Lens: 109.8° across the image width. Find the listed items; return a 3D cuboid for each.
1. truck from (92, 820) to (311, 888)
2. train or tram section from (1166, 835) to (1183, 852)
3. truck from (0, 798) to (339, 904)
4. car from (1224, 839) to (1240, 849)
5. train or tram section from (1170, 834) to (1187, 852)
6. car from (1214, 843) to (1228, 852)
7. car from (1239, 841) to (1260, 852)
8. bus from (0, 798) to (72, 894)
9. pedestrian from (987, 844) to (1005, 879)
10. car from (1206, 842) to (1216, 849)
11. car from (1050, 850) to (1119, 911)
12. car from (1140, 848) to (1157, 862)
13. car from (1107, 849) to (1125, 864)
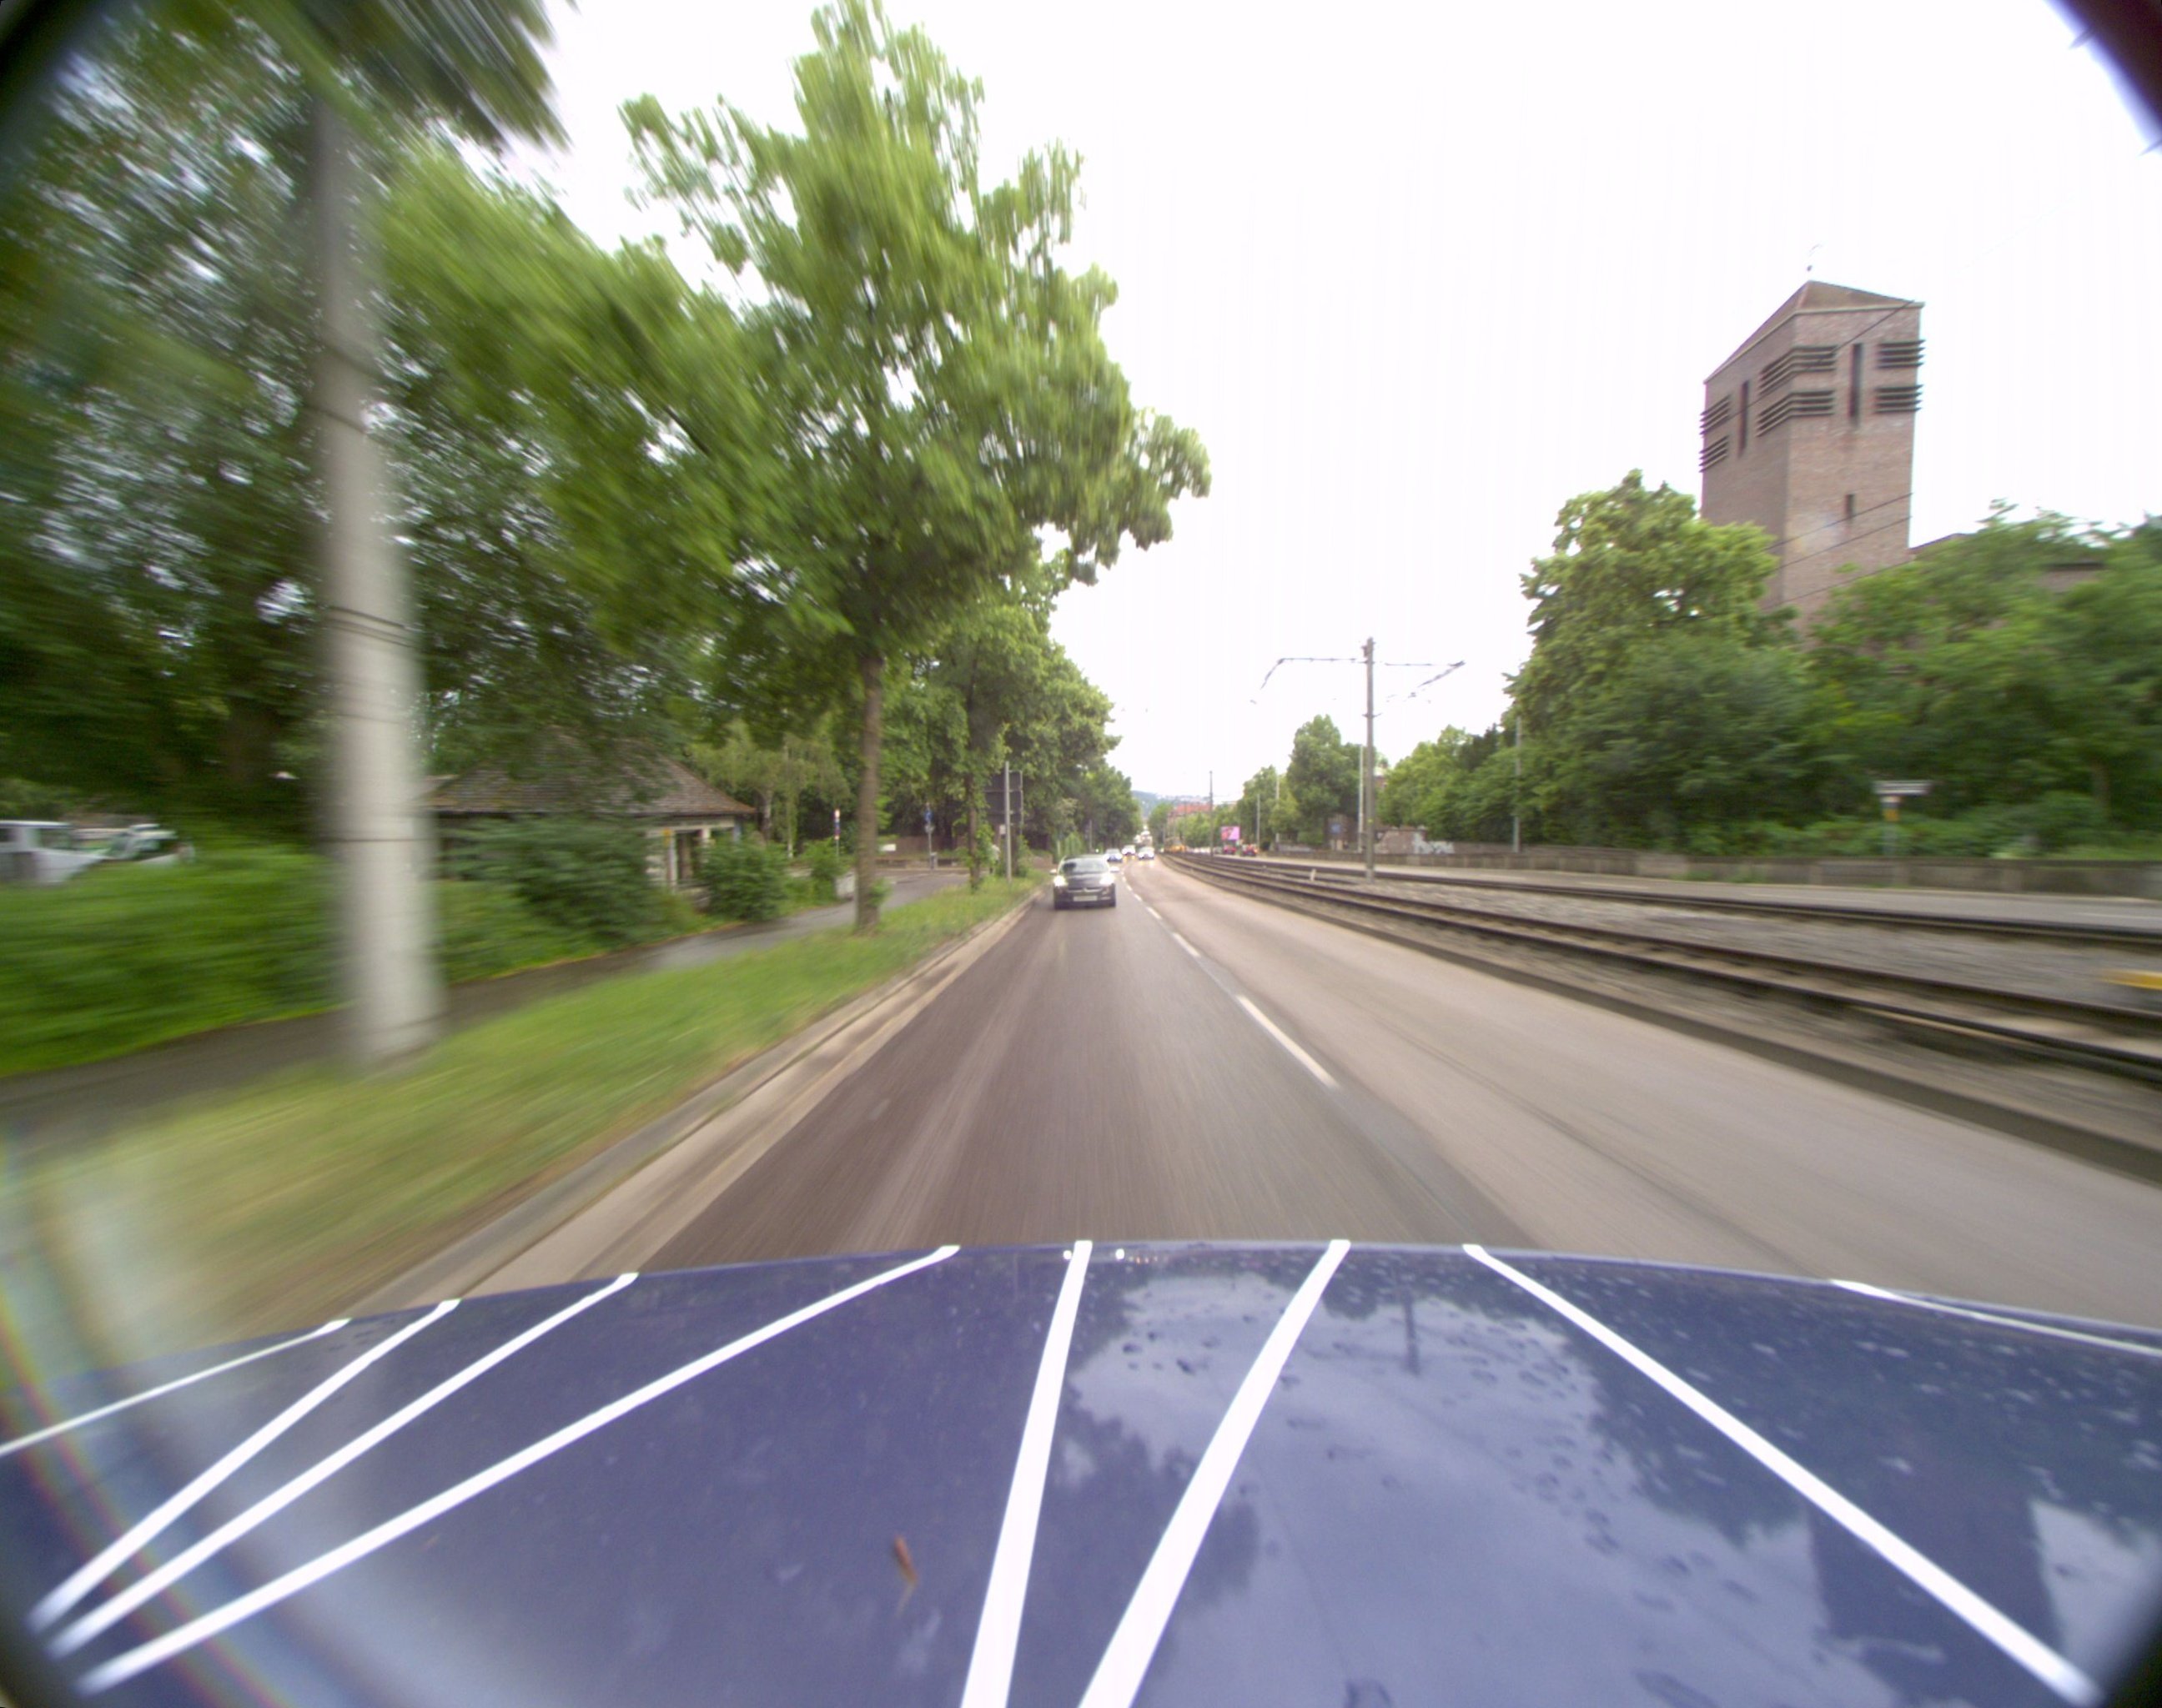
[{"bbox_3d":[-33.196,-0.016,28.831,5.409,2.168,2.221,-3,1,-3],"label":"truck"},{"bbox_3d":[23.425,-2.657,191.484,2.834,3.953,20.031,-1,0,3],"label":"train or tram section"},{"bbox_3d":[-28.117,-0.121,23.815,2.055,2.851,6.614,0,1,20],"label":"truck"},{"bbox_3d":[25.327,-1.675,127.677,1.998,1.634,4.525,1,1,3],"label":"car"},{"bbox_3d":[22.043,-2.492,172.887,2.834,3.953,17.881,-1,0,5],"label":"train or tram section"},{"bbox_3d":[26.512,-1.301,143.924,1.998,1.634,4.412,1,1,3],"label":"car"},{"bbox_3d":[22.541,-1.046,101.638,1.970,1.433,4.321,0,1,2],"label":"car"},{"bbox_3d":[-31.582,-0.183,19.158,2.256,2.685,7.169,-1,1,6],"label":"bus"},{"bbox_3d":[-4.555,0.399,40.779,0.856,1.843,0.737,0,1,5],"label":"pedestrian"},{"bbox_3d":[27.580,-1.756,161.260,1.751,1.459,3.985,2,1,3],"label":"car"},{"bbox_3d":[0.180,0.686,22.209,1.746,1.544,4.494,-2,0,2],"label":"car"},{"bbox_3d":[7.795,0.108,87.507,1.768,1.503,4.343,-1,0,8],"label":"car"},{"bbox_3d":[3.627,0.275,78.697,1.769,1.503,4.340,-1,0,1],"label":"car"}]
